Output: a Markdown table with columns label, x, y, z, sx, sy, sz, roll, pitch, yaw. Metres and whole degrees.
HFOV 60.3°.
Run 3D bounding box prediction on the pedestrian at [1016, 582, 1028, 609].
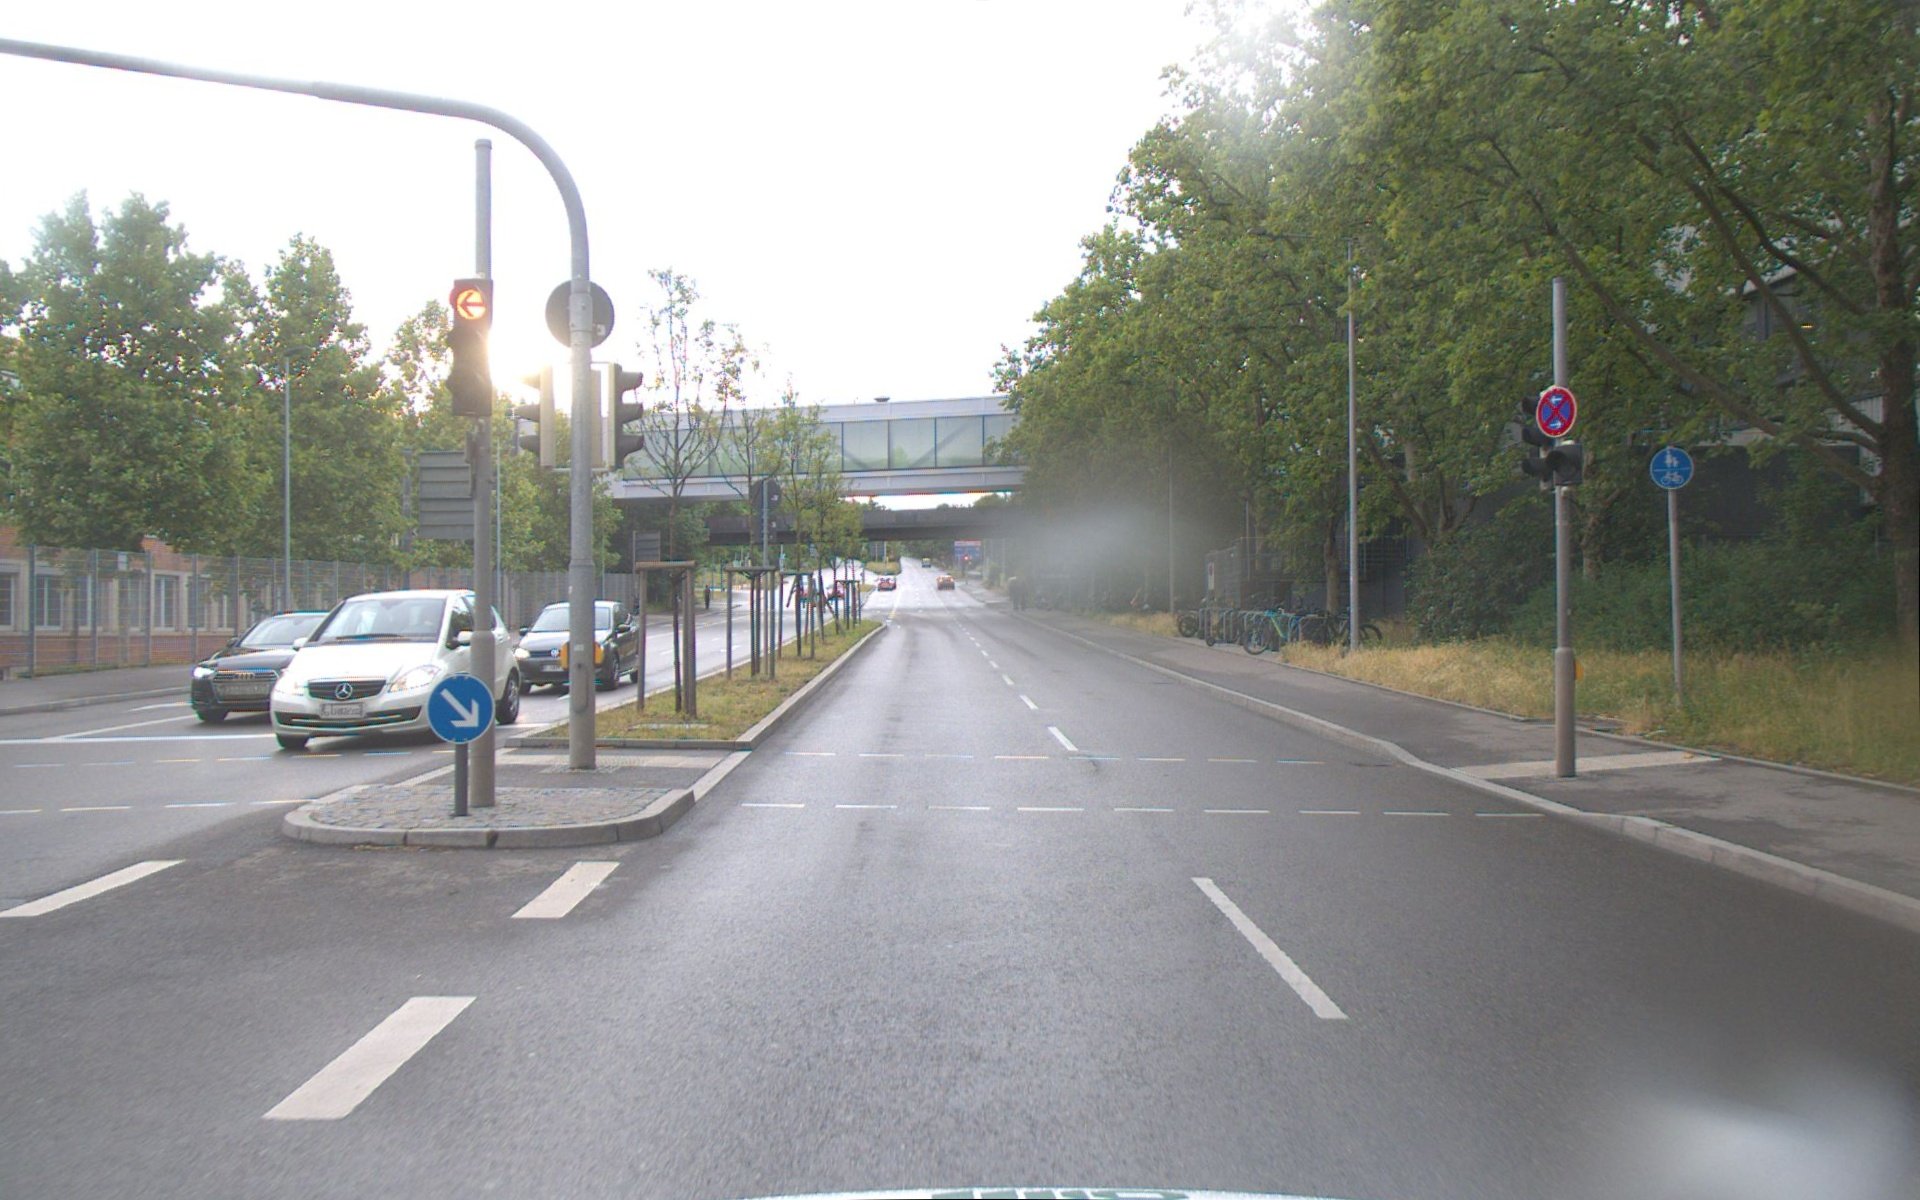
| label | x | y | z | sx | sy | sz | roll | pitch | yaw |
| --- | --- | --- | --- | --- | --- | --- | --- | --- | --- |
| pedestrian | 3.755 | -0.284 | 100.750 | 0.636 | 1.624 | 0.579 | -1 | 0 | 10 |

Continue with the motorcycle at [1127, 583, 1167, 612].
| label | x | y | z | sx | sy | sz | roll | pitch | yaw |
| --- | --- | --- | --- | --- | --- | --- | --- | --- | --- |
| motorcycle | 7.725 | -0.103 | 68.298 | 1.618 | 1.170 | 0.493 | 1 | -1 | 6 |

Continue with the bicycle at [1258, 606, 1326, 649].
| label | x | y | z | sx | sy | sz | roll | pitch | yaw |
| --- | --- | --- | --- | --- | --- | --- | --- | --- | --- |
| bicycle | 7.823 | 0.647 | 39.012 | 1.520 | 0.975 | 0.393 | -1 | 0 | -2 |

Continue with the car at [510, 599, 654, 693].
| label | x | y | z | sx | sy | sz | roll | pitch | yaw |
| --- | --- | --- | --- | --- | --- | --- | --- | --- | --- |
| car | -6.307 | 0.718 | 28.003 | 1.546 | 1.428 | 4.110 | -1 | 0 | -1 |

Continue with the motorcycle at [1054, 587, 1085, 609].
| label | x | y | z | sx | sy | sz | roll | pitch | yaw |
| --- | --- | --- | --- | --- | --- | --- | --- | --- | --- |
| motorcycle | 6.729 | -0.099 | 101.698 | 1.906 | 1.320 | 0.545 | -1 | 0 | 37 |

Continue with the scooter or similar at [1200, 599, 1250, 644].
| label | x | y | z | sx | sy | sz | roll | pitch | yaw |
| --- | --- | --- | --- | --- | --- | --- | --- | --- | --- |
| scooter or similar | 6.729 | 0.546 | 41.977 | 1.189 | 1.110 | 0.312 | -1 | 0 | -6 |

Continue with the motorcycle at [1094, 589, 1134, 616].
| label | x | y | z | sx | sy | sz | roll | pitch | yaw |
| --- | --- | --- | --- | --- | --- | --- | --- | --- | --- |
| motorcycle | 7.272 | 0.106 | 78.186 | 1.819 | 1.212 | 0.519 | -1 | 1 | -17 |

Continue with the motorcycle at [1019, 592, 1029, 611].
| label | x | y | z | sx | sy | sz | roll | pitch | yaw |
| --- | --- | --- | --- | --- | --- | --- | --- | --- | --- |
| motorcycle | 3.875 | 0.083 | 100.918 | 0.460 | 1.156 | 1.818 | -1 | 0 | -2 |

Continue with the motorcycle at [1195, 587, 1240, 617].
| label | x | y | z | sx | sy | sz | roll | pitch | yaw |
| --- | --- | --- | --- | --- | --- | --- | --- | --- | --- |
| motorcycle | 11.145 | 0.088 | 71.578 | 1.874 | 1.279 | 0.491 | 1 | -1 | 4 |

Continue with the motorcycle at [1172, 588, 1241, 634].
| label | x | y | z | sx | sy | sz | roll | pitch | yaw |
| --- | --- | --- | --- | --- | --- | --- | --- | --- | --- |
| motorcycle | 7.259 | 0.331 | 48.738 | 1.966 | 1.295 | 0.442 | -1 | 0 | 11 |

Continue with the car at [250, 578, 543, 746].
| label | x | y | z | sx | sy | sz | roll | pitch | yaw |
| --- | --- | --- | --- | --- | --- | --- | --- | --- | --- |
| car | -6.161 | 0.623 | 18.667 | 1.735 | 1.617 | 4.485 | -2 | 0 | 0 |

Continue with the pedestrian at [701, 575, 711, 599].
| label | x | y | z | sx | sy | sz | roll | pitch | yaw |
| --- | --- | --- | --- | --- | --- | --- | --- | --- | --- |
| pedestrian | -19.127 | -0.971 | 124.385 | 0.508 | 1.847 | 0.800 | 0 | 1 | 8 |

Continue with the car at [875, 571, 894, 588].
| label | x | y | z | sx | sy | sz | roll | pitch | yaw |
| --- | --- | --- | --- | --- | --- | --- | --- | --- | --- |
| car | -8.402 | -2.244 | 184.085 | 2.035 | 1.748 | 4.195 | 1 | 0 | -4 |

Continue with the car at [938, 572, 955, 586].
| label | x | y | z | sx | sy | sz | roll | pitch | yaw |
| --- | --- | --- | --- | --- | --- | --- | --- | --- | --- |
| car | -1.514 | -2.385 | 183.950 | 1.710 | 1.495 | 4.165 | 0 | 2 | -2 |

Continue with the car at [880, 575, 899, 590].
| label | x | y | z | sx | sy | sz | roll | pitch | yaw |
| --- | --- | --- | --- | --- | --- | --- | --- | --- | --- |
| car | -8.324 | -2.067 | 195.050 | 2.122 | 1.610 | 4.663 | 1 | 0 | -1 |

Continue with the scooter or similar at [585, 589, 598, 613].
| label | x | y | z | sx | sy | sz | roll | pitch | yaw |
| --- | --- | --- | --- | --- | --- | --- | --- | --- | --- |
| scooter or similar | -19.854 | 0.053 | 89.027 | 0.305 | 1.239 | 1.308 | -1 | 1 | 3 |

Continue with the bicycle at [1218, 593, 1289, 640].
| label | x | y | z | sx | sy | sz | roll | pitch | yaw |
| --- | --- | --- | --- | --- | --- | --- | --- | --- | --- |
| bicycle | 7.692 | 0.433 | 43.312 | 1.754 | 1.187 | 0.447 | -1 | 0 | -8 |

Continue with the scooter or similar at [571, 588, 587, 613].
| label | x | y | z | sx | sy | sz | roll | pitch | yaw |
| --- | --- | --- | --- | --- | --- | --- | --- | --- | --- |
| scooter or similar | -19.839 | 0.025 | 86.080 | 0.305 | 1.239 | 1.309 | -1 | 1 | 10 |

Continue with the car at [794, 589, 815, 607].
| label | x | y | z | sx | sy | sz | roll | pitch | yaw |
| --- | --- | --- | --- | --- | --- | --- | --- | --- | --- |
| car | -13.775 | -0.198 | 146.548 | 1.681 | 1.462 | 3.770 | -2 | 0 | -3 |

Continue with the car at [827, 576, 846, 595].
| label | x | y | z | sx | sy | sz | roll | pitch | yaw |
| --- | --- | --- | --- | --- | --- | --- | --- | --- | --- |
| car | -11.441 | -1.359 | 153.257 | 1.553 | 1.633 | 3.854 | -2 | 0 | -2 |

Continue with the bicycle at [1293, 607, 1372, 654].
| label | x | y | z | sx | sy | sz | roll | pitch | yaw |
| --- | --- | --- | --- | --- | --- | --- | --- | --- | --- |
| bicycle | 7.937 | 0.646 | 35.288 | 1.575 | 0.956 | 0.387 | -1 | 0 | -2 |

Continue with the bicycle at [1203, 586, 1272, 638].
| label | x | y | z | sx | sy | sz | roll | pitch | yaw |
| --- | --- | --- | --- | --- | --- | --- | --- | --- | --- |
| bicycle | 7.569 | 0.323 | 45.095 | 1.826 | 1.372 | 0.446 | -1 | 0 | -14 |

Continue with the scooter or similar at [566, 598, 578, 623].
| label | x | y | z | sx | sy | sz | roll | pitch | yaw |
| --- | --- | --- | --- | --- | --- | --- | --- | --- | --- |
| scooter or similar | -19.721 | 0.546 | 83.969 | 0.305 | 1.239 | 1.307 | -1 | 1 | -1 |

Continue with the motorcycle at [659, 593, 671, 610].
| label | x | y | z | sx | sy | sz | roll | pitch | yaw |
| --- | --- | --- | --- | --- | --- | --- | --- | --- | --- |
| motorcycle | -20.983 | 0.077 | 117.731 | 0.459 | 1.179 | 1.933 | -1 | 1 | 2 |

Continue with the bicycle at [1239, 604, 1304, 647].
| label | x | y | z | sx | sy | sz | roll | pitch | yaw |
| --- | --- | --- | --- | --- | --- | --- | --- | --- | --- |
| bicycle | 7.693 | 0.631 | 40.890 | 1.520 | 1.022 | 0.393 | -1 | 0 | -2 |

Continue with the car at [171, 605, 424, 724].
| label | x | y | z | sx | sy | sz | roll | pitch | yaw |
| --- | --- | --- | --- | --- | --- | --- | --- | --- | --- |
| car | -9.110 | 0.820 | 23.186 | 1.737 | 1.428 | 4.613 | -1 | 0 | -1 |

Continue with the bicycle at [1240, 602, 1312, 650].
| label | x | y | z | sx | sy | sz | roll | pitch | yaw |
| --- | --- | --- | --- | --- | --- | --- | --- | --- | --- |
| bicycle | 7.084 | 0.585 | 37.063 | 1.520 | 1.022 | 0.393 | -1 | 0 | -2 |

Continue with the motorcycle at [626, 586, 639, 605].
| label | x | y | z | sx | sy | sz | roll | pitch | yaw |
| --- | --- | --- | --- | --- | --- | --- | --- | --- | --- |
| motorcycle | -20.976 | -0.290 | 106.023 | 0.459 | 1.226 | 1.996 | -1 | 1 | -2 |

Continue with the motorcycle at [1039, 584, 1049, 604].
| label | x | y | z | sx | sy | sz | roll | pitch | yaw |
| --- | --- | --- | --- | --- | --- | --- | --- | --- | --- |
| motorcycle | 5.220 | -0.361 | 102.735 | 0.460 | 1.234 | 1.944 | -1 | 0 | -2 |

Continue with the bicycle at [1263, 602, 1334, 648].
| label | x | y | z | sx | sy | sz | roll | pitch | yaw |
| --- | --- | --- | --- | --- | --- | --- | --- | --- | --- |
| bicycle | 7.790 | 0.568 | 38.089 | 1.520 | 1.022 | 0.393 | -1 | 0 | -2 |

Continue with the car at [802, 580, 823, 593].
| label | x | y | z | sx | sy | sz | roll | pitch | yaw |
| --- | --- | --- | --- | --- | --- | --- | --- | --- | --- |
| car | -15.996 | -1.506 | 179.674 | 2.022 | 1.385 | 4.754 | -1 | 1 | -3 |

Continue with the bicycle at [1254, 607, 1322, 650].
| label | x | y | z | sx | sy | sz | roll | pitch | yaw |
| --- | --- | --- | --- | --- | --- | --- | --- | --- | --- |
| bicycle | 7.810 | 0.678 | 39.396 | 1.520 | 0.975 | 0.393 | -1 | 0 | -2 |

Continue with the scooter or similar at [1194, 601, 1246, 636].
| label | x | y | z | sx | sy | sz | roll | pitch | yaw |
| --- | --- | --- | --- | --- | --- | --- | --- | --- | --- |
| scooter or similar | 7.454 | 0.527 | 47.386 | 1.450 | 0.953 | 0.364 | -1 | 0 | -19 |

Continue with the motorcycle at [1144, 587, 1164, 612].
| label | x | y | z | sx | sy | sz | roll | pitch | yaw |
| --- | --- | --- | --- | --- | --- | --- | --- | --- | --- |
| motorcycle | 10.320 | -0.032 | 87.979 | 0.341 | 1.301 | 2.069 | -1 | 1 | 26 |

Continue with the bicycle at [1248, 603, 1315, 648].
| label | x | y | z | sx | sy | sz | roll | pitch | yaw |
| --- | --- | --- | --- | --- | --- | --- | --- | --- | --- |
| bicycle | 7.794 | 0.614 | 40.072 | 1.520 | 1.022 | 0.393 | -1 | 0 | -2 |

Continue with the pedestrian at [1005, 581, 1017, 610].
| label | x | y | z | sx | sy | sz | roll | pitch | yaw |
| --- | --- | --- | --- | --- | --- | --- | --- | --- | --- |
| pedestrian | 3.116 | -0.300 | 100.718 | 0.598 | 1.751 | 0.892 | -1 | 0 | 8 |
